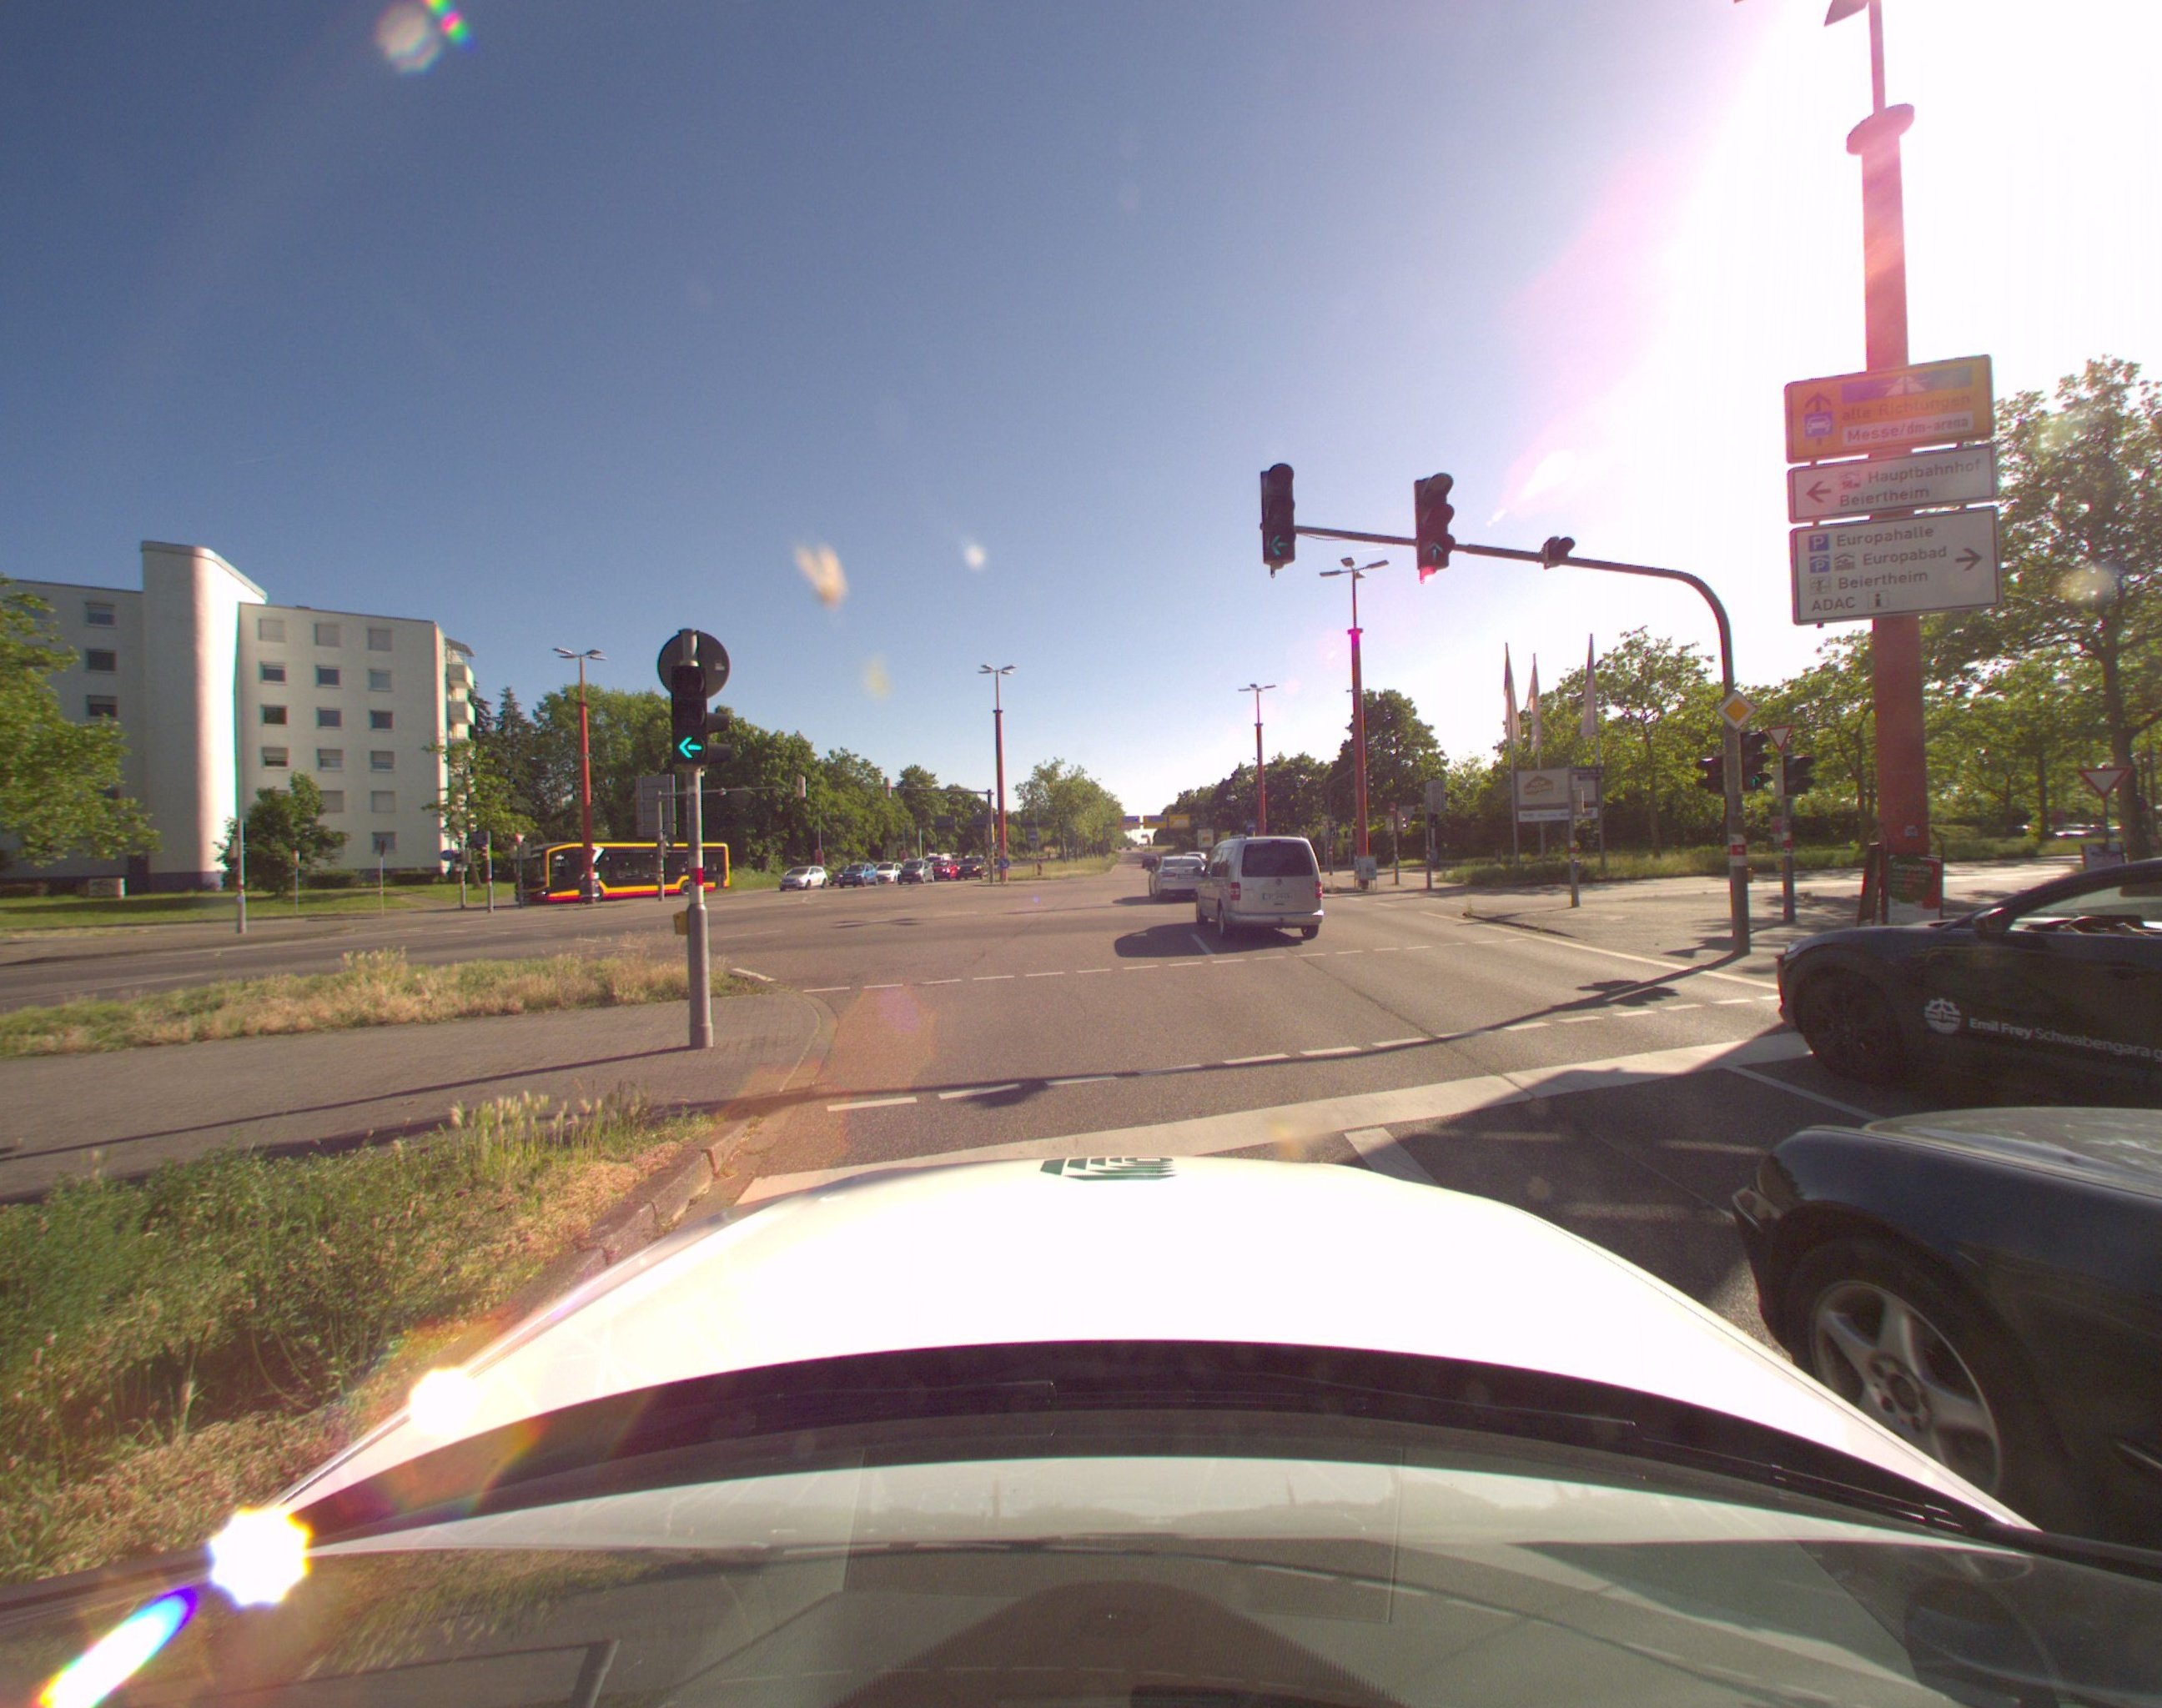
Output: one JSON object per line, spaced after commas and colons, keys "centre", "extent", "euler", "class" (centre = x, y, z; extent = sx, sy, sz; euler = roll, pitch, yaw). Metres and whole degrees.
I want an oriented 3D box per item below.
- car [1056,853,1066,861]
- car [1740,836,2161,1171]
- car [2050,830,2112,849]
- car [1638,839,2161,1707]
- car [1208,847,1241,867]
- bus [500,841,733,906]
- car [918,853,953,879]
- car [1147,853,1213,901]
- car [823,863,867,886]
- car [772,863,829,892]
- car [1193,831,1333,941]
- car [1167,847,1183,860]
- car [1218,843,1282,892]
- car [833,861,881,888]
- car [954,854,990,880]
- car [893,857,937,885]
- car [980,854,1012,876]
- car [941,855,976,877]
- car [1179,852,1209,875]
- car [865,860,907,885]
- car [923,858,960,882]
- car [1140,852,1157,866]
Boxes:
{"centre": [-4.824, 0.731, 196.624], "extent": [1.908, 1.846, 3.963], "euler": [-2, 0, 2], "class": "car"}
{"centre": [5.764, 0.670, 4.012], "extent": [1.761, 1.508, 4.228], "euler": [0, 0, 3], "class": "car"}
{"centre": [81.862, -1.201, 66.678], "extent": [4.134, 1.517, 1.855], "euler": [0, -1, -18], "class": "car"}
{"centre": [2.583, 0.711, 0.416], "extent": [1.707, 1.454, 4.197], "euler": [-2, 0, 0], "class": "car"}
{"centre": [12.696, 0.260, 72.329], "extent": [1.761, 1.635, 4.291], "euler": [-2, 0, -5], "class": "car"}
{"centre": [-25.960, 1.009, 46.831], "extent": [2.622, 3.261, 12.603], "euler": [-1, -1, 23], "class": "bus"}
{"centre": [-12.718, 0.994, 71.307], "extent": [1.954, 2.155, 5.083], "euler": [-2, 0, 1], "class": "car"}
{"centre": [3.297, 0.740, 27.848], "extent": [1.798, 1.493, 4.683], "euler": [0, 0, 1], "class": "car"}
{"centre": [-17.553, 1.497, 60.686], "extent": [1.877, 1.513, 4.003], "euler": [-3, 0, 3], "class": "car"}
{"centre": [-17.640, 1.418, 51.423], "extent": [1.869, 1.652, 4.222], "euler": [-3, -1, 3], "class": "car"}
{"centre": [3.388, 0.560, 16.078], "extent": [1.798, 1.821, 4.587], "euler": [-1, -1, 1], "class": "car"}
{"centre": [12.757, -0.060, 110.537], "extent": [1.757, 1.635, 4.299], "euler": [0, -1, 1], "class": "car"}
{"centre": [6.984, 0.530, 34.143], "extent": [1.797, 1.852, 5.106], "euler": [-2, 0, 2], "class": "car"}
{"centre": [-14.133, 1.281, 51.622], "extent": [1.794, 1.515, 3.861], "euler": [-3, 0, 2], "class": "car"}
{"centre": [-7.523, 0.853, 56.708], "extent": [1.787, 1.626, 4.144], "euler": [-3, 0, 1], "class": "car"}
{"centre": [-10.691, 1.074, 52.702], "extent": [1.867, 1.550, 4.029], "euler": [-3, 0, 2], "class": "car"}
{"centre": [-6.673, 0.857, 64.172], "extent": [1.878, 1.543, 4.002], "euler": [-3, 0, 2], "class": "car"}
{"centre": [-9.742, 0.928, 65.027], "extent": [1.893, 1.630, 4.003], "euler": [-1, 0, 3], "class": "car"}
{"centre": [8.139, 0.674, 58.896], "extent": [1.709, 1.608, 3.849], "euler": [0, -1, 2], "class": "car"}
{"centre": [-13.769, 1.282, 57.769], "extent": [1.895, 1.555, 4.000], "euler": [-3, 0, 0], "class": "car"}
{"centre": [-10.062, 1.120, 59.029], "extent": [1.869, 1.552, 4.000], "euler": [-5, 0, 0], "class": "car"}
{"centre": [7.043, 0.506, 85.170], "extent": [1.756, 1.441, 4.299], "euler": [0, 0, 4], "class": "car"}
